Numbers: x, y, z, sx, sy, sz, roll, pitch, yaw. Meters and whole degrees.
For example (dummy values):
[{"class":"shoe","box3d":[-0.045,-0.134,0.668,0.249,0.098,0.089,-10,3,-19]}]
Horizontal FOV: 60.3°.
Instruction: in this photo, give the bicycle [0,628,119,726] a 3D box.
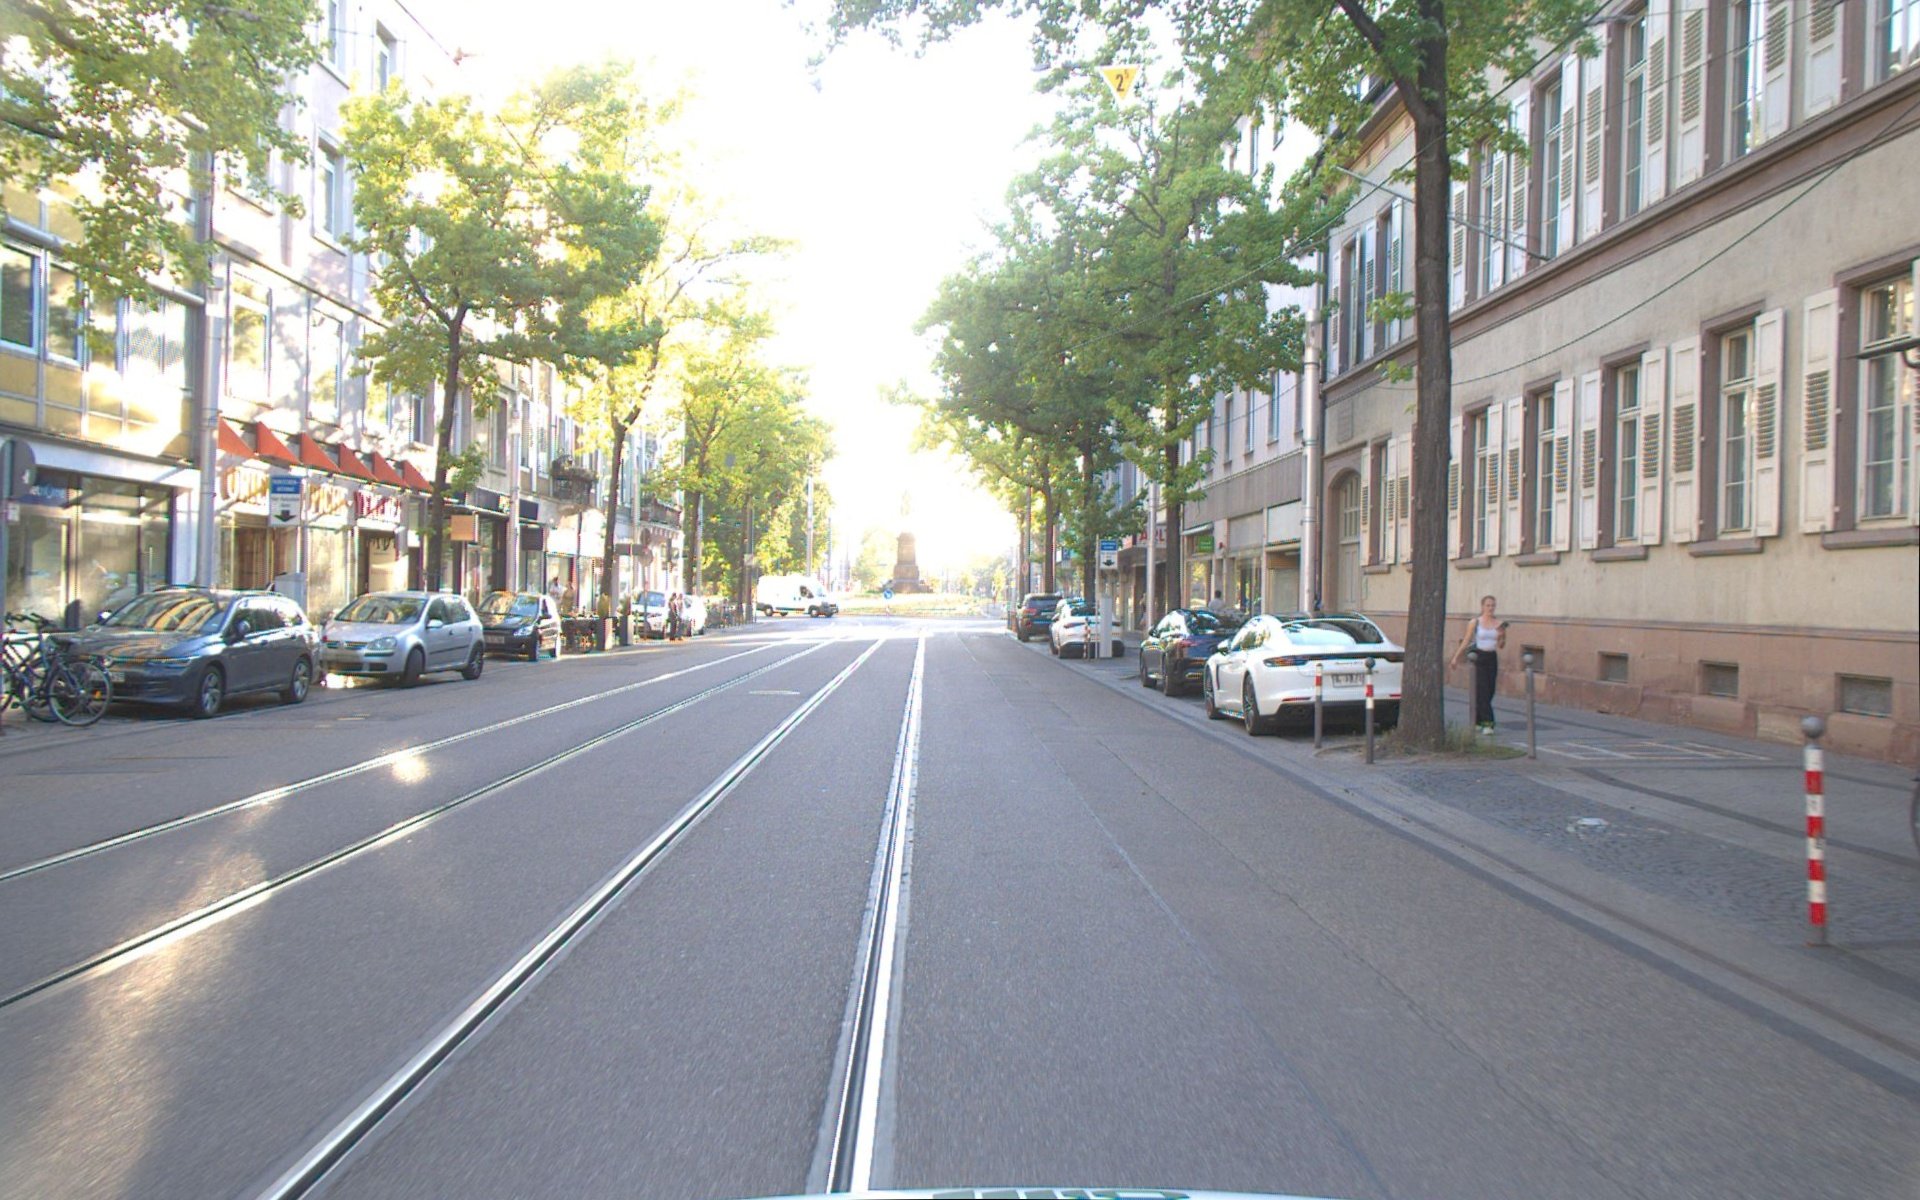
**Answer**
[{"class":"bicycle","box3d":[-10.099,0.814,17.776,1.930,1.019,0.330,1,0,1]}]

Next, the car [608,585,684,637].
[{"class":"car","box3d":[-10.881,0.380,57.549,1.799,1.607,4.115,4,0,-1]}]

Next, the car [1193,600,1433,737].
[{"class":"car","box3d":[4.259,0.758,20.770,1.873,1.445,4.887,-2,0,-1]}]

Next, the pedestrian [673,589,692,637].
[{"class":"pedestrian","box3d":[-9.301,0.448,55.381,0.510,1.596,0.633,0,-1,-1]}]

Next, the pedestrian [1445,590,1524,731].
[{"class":"pedestrian","box3d":[6.099,0.687,19.265,0.636,1.601,0.798,1,0,-1]}]

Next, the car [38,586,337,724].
[{"class":"car","box3d":[-9.560,0.615,20.905,1.677,1.486,4.485,2,0,-1]}]

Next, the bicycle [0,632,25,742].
[{"class":"bicycle","box3d":[-9.940,0.807,15.700,1.930,1.019,0.330,1,0,1]}]

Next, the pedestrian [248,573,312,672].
[{"class":"pedestrian","box3d":[-11.956,0.390,29.099,0.827,1.723,0.740,1,0,-2]}]

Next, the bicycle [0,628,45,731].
[{"class":"bicycle","box3d":[-10.441,0.795,16.940,1.929,1.019,0.419,1,0,3]}]

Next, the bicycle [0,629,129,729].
[{"class":"bicycle","box3d":[-9.796,0.820,17.397,1.930,1.019,0.330,1,0,1]}]

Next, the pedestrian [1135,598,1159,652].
[{"class":"pedestrian","box3d":[5.995,0.804,53.041,0.630,1.699,0.786,-2,0,-1]}]

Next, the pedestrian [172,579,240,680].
[{"class":"pedestrian","box3d":[-13.203,0.509,28.981,0.773,1.723,0.913,1,0,-2]}]

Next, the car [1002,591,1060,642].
[{"class":"car","box3d":[2.722,0.615,64.280,1.899,1.790,4.678,-3,0,-1]}]

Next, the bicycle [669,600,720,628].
[{"class":"bicycle","box3d":[-11.526,0.625,71.827,2.082,1.124,0.497,3,-1,-27]}]

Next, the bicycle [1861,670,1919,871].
[{"class":"bicycle","box3d":[5.751,0.977,8.910,0.410,1.119,1.983,-1,0,-11]}]

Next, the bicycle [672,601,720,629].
[{"class":"bicycle","box3d":[-11.560,0.663,72.415,1.999,1.124,0.497,3,-1,-27]}]

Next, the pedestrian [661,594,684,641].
[{"class":"pedestrian","box3d":[-9.475,0.566,54.554,0.607,1.536,0.729,0,-1,-1]}]

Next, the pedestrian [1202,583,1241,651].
[{"class":"pedestrian","box3d":[7.106,0.461,44.952,0.841,1.783,0.932,-2,0,-1]}]

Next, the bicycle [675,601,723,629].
[{"class":"bicycle","box3d":[-11.543,0.659,73.052,1.999,1.124,0.497,3,-1,-27]}]

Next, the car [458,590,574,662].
[{"class":"car","box3d":[-10.079,0.554,37.786,1.632,1.453,3.826,4,0,-2]}]

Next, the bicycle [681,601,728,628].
[{"class":"bicycle","box3d":[-11.424,0.657,73.934,1.982,1.124,0.501,3,-1,1]}]

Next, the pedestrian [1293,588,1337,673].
[{"class":"pedestrian","box3d":[7.282,0.621,33.967,0.644,1.694,0.888,-2,0,-2]}]

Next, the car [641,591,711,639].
[{"class":"car","box3d":[-10.758,0.542,62.904,1.799,1.607,4.701,4,0,-1]}]

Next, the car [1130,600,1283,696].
[{"class":"car","box3d":[4.233,0.770,29.127,1.796,1.504,4.760,-1,0,-2]}]

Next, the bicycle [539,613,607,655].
[{"class":"bicycle","box3d":[-9.877,0.855,42.188,1.582,0.982,0.433,3,0,4]}]

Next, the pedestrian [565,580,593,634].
[{"class":"pedestrian","box3d":[-12.947,0.242,56.208,0.707,1.791,1.089,1,0,-1]}]

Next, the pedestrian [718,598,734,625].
[{"class":"pedestrian","box3d":[-11.434,0.555,80.815,0.713,1.313,0.856,2,0,-4]}]

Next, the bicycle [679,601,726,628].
[{"class":"bicycle","box3d":[-11.594,0.650,74.516,1.982,1.124,0.501,3,-1,1]}]

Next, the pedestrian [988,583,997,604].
[{"class":"pedestrian","box3d":[2.602,-0.520,132.351,0.623,1.634,0.771,1,0,-4]}]

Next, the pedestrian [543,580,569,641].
[{"class":"pedestrian","box3d":[-13.714,0.364,56.198,0.707,2.049,0.642,1,0,-1]}]

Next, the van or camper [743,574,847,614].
[{"class":"van or camper","box3d":[-10.588,-0.397,106.057,6.172,2.516,2.615,1,0,23]}]

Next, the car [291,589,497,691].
[{"class":"car","box3d":[-9.234,0.625,27.349,1.730,1.523,4.176,1,0,4]}]

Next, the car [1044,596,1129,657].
[{"class":"car","box3d":[3.528,0.704,46.836,1.953,1.524,4.679,-2,0,-1]}]
